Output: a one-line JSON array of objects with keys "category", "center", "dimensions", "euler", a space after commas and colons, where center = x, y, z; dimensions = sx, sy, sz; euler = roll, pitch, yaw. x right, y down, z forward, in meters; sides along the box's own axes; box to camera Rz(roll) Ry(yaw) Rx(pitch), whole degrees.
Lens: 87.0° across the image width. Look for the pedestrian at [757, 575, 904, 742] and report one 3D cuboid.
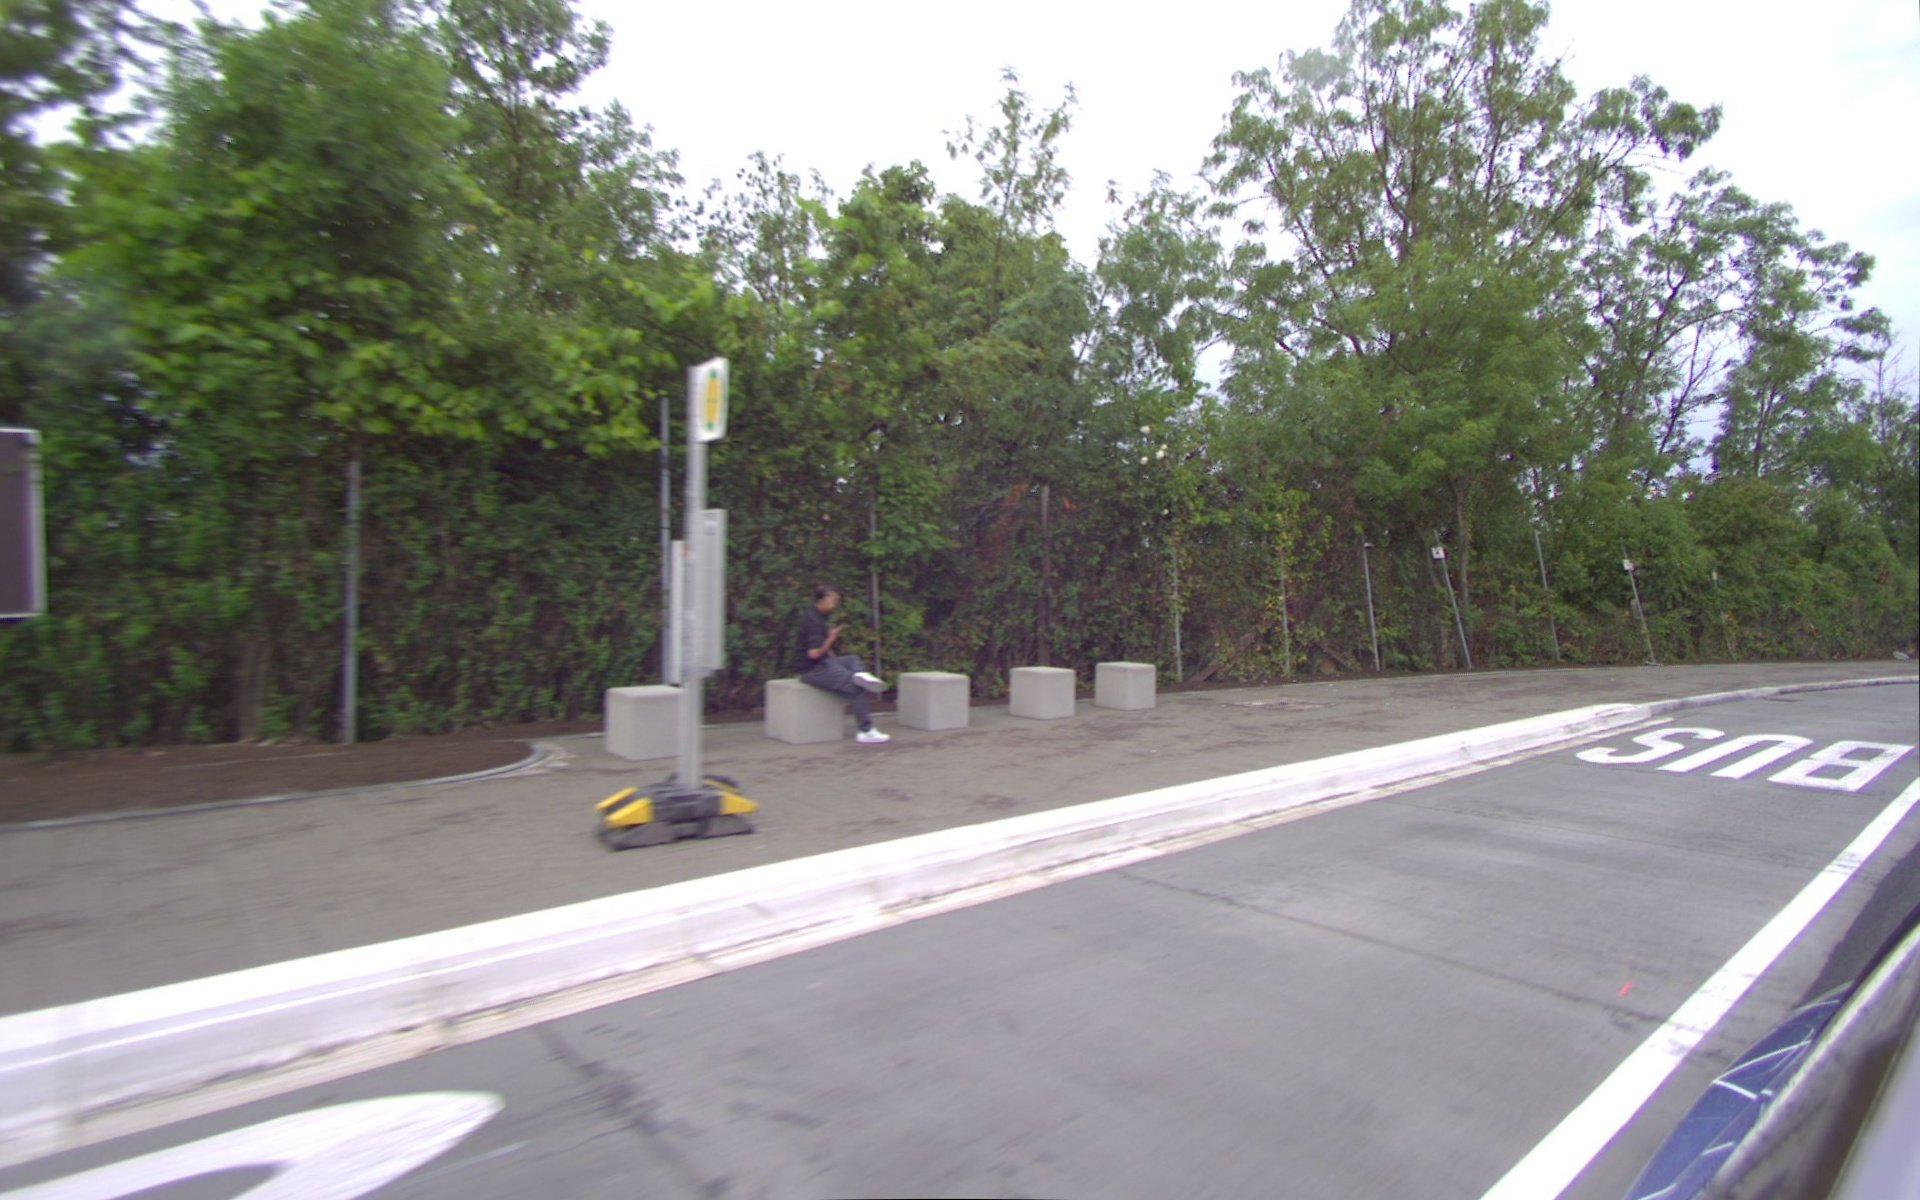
[{"category": "pedestrian", "center": [-1.094, 0.465, 8.711], "dimensions": [1.052, 1.346, 0.807], "euler": [0, 1, 13]}]
